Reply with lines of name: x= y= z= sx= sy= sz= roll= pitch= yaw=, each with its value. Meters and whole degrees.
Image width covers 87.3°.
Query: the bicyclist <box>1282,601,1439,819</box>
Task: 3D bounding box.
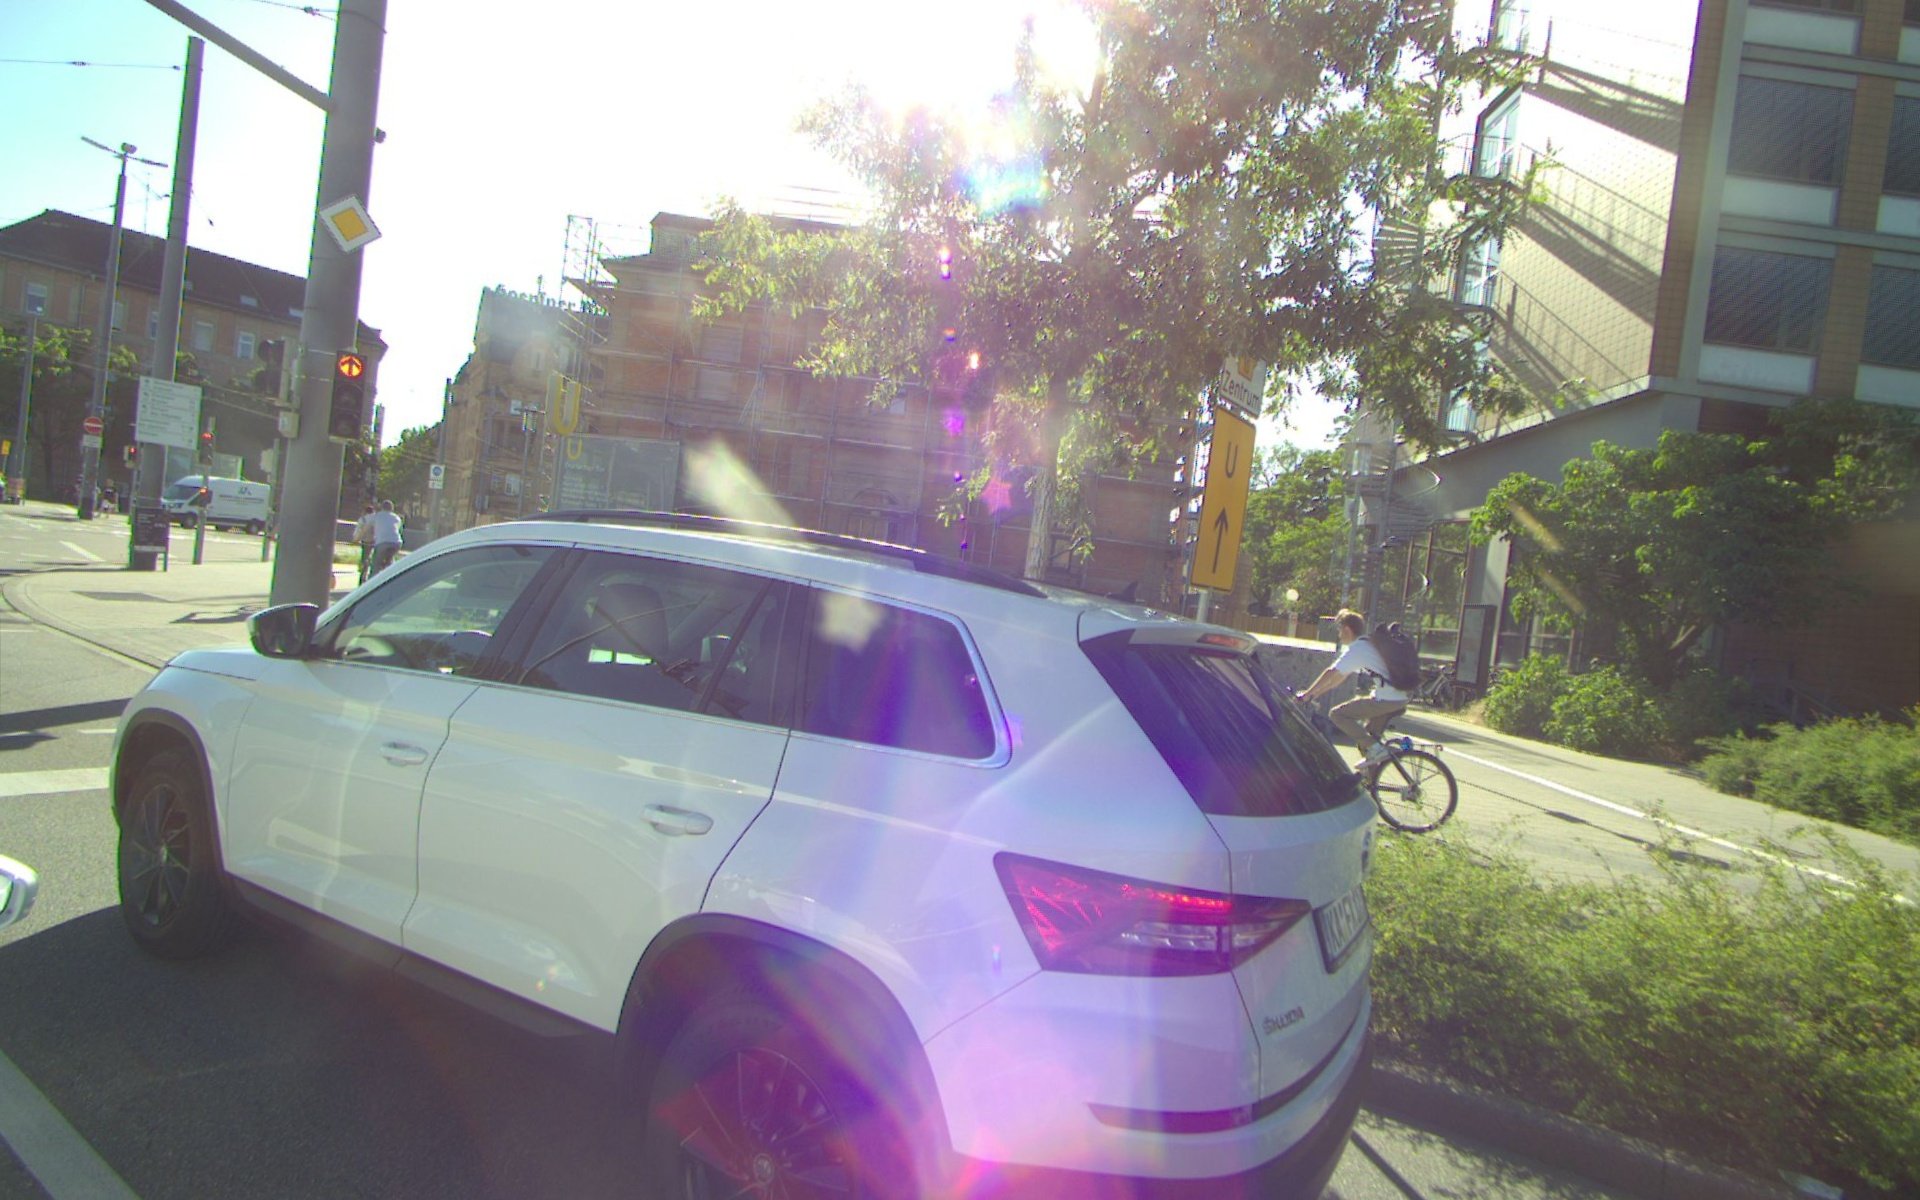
bicyclist: x=3.265 y=0.864 z=8.202 sx=0.931 sy=1.589 sz=0.572 roll=8 pitch=2 yaw=32

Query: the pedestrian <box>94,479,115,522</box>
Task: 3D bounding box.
pedestrian: x=-42.241 y=-4.889 z=49.672 sx=0.443 sy=2.039 sz=0.462 roll=7 pitch=2 yaw=14

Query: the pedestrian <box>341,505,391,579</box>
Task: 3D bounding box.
pedestrian: x=-16.370 y=-1.590 z=27.739 sx=0.887 sy=1.883 sz=0.922 roll=6 pitch=1 yaw=-23

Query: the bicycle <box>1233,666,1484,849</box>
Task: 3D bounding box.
bicycle: x=3.223 y=1.221 z=8.212 sx=1.712 sy=1.139 sz=0.572 roll=7 pitch=2 yaw=33

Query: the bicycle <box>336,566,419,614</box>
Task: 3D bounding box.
bicycle: x=-10.136 y=-0.177 z=17.498 sx=1.442 sy=0.664 sz=0.537 roll=7 pitch=2 yaw=29

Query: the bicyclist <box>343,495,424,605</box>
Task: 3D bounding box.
bicyclist: x=-10.080 y=-0.868 z=17.596 sx=0.908 sy=1.802 sz=0.748 roll=7 pitch=2 yaw=29

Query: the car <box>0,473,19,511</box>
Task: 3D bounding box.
car: x=-42.231 y=-4.819 z=41.964 sx=1.682 sy=1.521 sz=4.240 roll=8 pitch=0 yaw=44

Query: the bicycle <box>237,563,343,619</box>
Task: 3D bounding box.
bicycle: x=-10.375 y=-0.141 z=15.568 sx=1.694 sy=0.664 sz=0.537 roll=7 pitch=3 yaw=24

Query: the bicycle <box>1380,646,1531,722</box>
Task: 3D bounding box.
bicycle: x=12.089 y=2.041 z=24.628 sx=3.079 sy=1.395 sz=0.798 roll=7 pitch=1 yaw=9

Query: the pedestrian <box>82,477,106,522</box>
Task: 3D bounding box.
pedestrian: x=-42.068 y=-4.881 z=48.877 sx=0.443 sy=2.039 sz=0.574 roll=7 pitch=2 yaw=14

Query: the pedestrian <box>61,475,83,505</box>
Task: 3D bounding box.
pedestrian: x=-48.815 y=-6.053 z=55.287 sx=0.540 sy=1.536 sz=0.704 roll=7 pitch=1 yaw=-17

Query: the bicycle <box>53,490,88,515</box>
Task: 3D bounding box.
bicycle: x=-48.917 y=-5.358 z=55.351 sx=0.540 sy=1.134 sz=2.012 roll=7 pitch=0 yaw=-16

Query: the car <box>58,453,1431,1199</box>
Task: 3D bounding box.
car: x=-0.949 y=0.582 z=3.288 sx=4.225 sy=1.662 sz=1.697 roll=7 pitch=0 yaw=31

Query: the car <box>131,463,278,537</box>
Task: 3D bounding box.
car: x=-37.648 y=-4.914 z=50.408 sx=2.103 sy=2.778 sz=5.926 roll=7 pitch=0 yaw=8

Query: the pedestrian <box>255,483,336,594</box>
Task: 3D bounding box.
pedestrian: x=-10.218 y=-0.946 z=15.476 sx=0.842 sy=1.582 sz=0.549 roll=7 pitch=1 yaw=24
